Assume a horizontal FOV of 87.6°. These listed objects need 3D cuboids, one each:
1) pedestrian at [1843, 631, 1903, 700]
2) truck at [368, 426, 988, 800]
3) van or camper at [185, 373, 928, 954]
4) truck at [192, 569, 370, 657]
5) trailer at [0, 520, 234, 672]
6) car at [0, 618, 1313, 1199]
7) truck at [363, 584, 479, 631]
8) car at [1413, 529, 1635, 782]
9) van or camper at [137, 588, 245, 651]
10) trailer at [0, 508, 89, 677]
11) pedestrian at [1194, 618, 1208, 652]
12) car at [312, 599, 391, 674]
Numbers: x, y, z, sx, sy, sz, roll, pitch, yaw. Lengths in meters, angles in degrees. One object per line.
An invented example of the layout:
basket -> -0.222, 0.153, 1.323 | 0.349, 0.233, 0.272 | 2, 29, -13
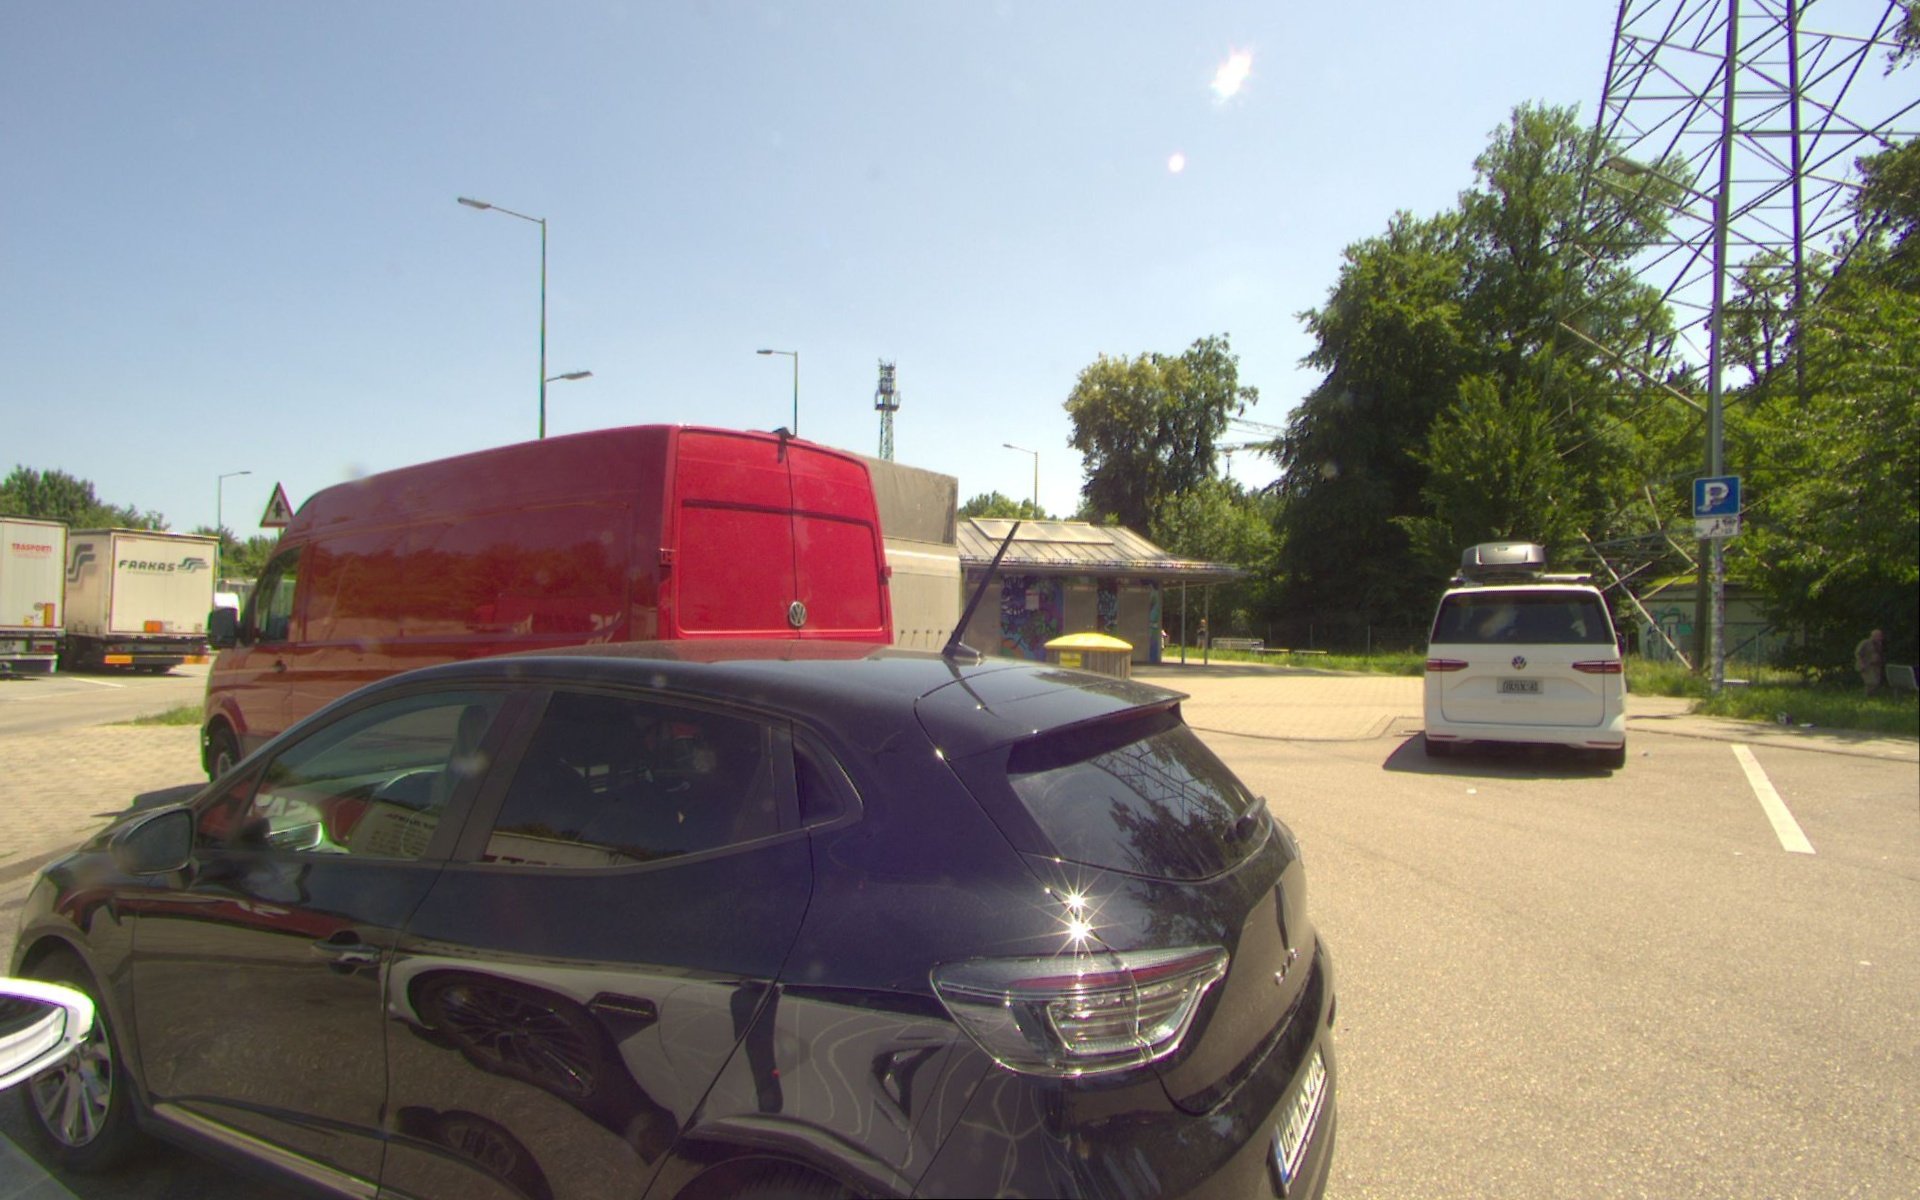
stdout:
pedestrian -> 18.952, 1.342, 20.806 | 0.695, 1.392, 0.607 | 1, 0, 12
truck -> -3.259, 0.129, 10.557 | 6.874, 2.828, 2.460 | 0, -1, 35
van or camper -> -3.364, 0.321, 7.351 | 6.394, 2.688, 1.990 | 0, -1, 36
truck -> -31.689, 0.504, 46.476 | 11.255, 3.615, 2.484 | 2, -1, 33
trailer -> -27.291, -0.201, 31.463 | 12.255, 4.090, 2.862 | 2, -1, 33
car -> -1.058, 0.832, 2.843 | 3.706, 1.503, 1.615 | 0, -1, 27
truck -> -34.717, 0.462, 64.278 | 9.637, 2.857, 2.121 | 0, -1, 33
car -> 6.542, 0.562, 11.556 | 1.892, 2.354, 4.074 | -1, -1, 32
van or camper -> -33.456, 0.817, 43.507 | 5.296, 2.595, 2.100 | 0, -1, 34
trailer -> -28.352, -0.330, 27.798 | 12.255, 4.090, 2.862 | 2, -1, 33
pedestrian -> 10.971, 1.604, 45.644 | 0.582, 1.536, 0.588 | 1, 0, 13
car -> -19.261, 1.110, 31.770 | 1.972, 2.178, 5.283 | 1, -1, -31
